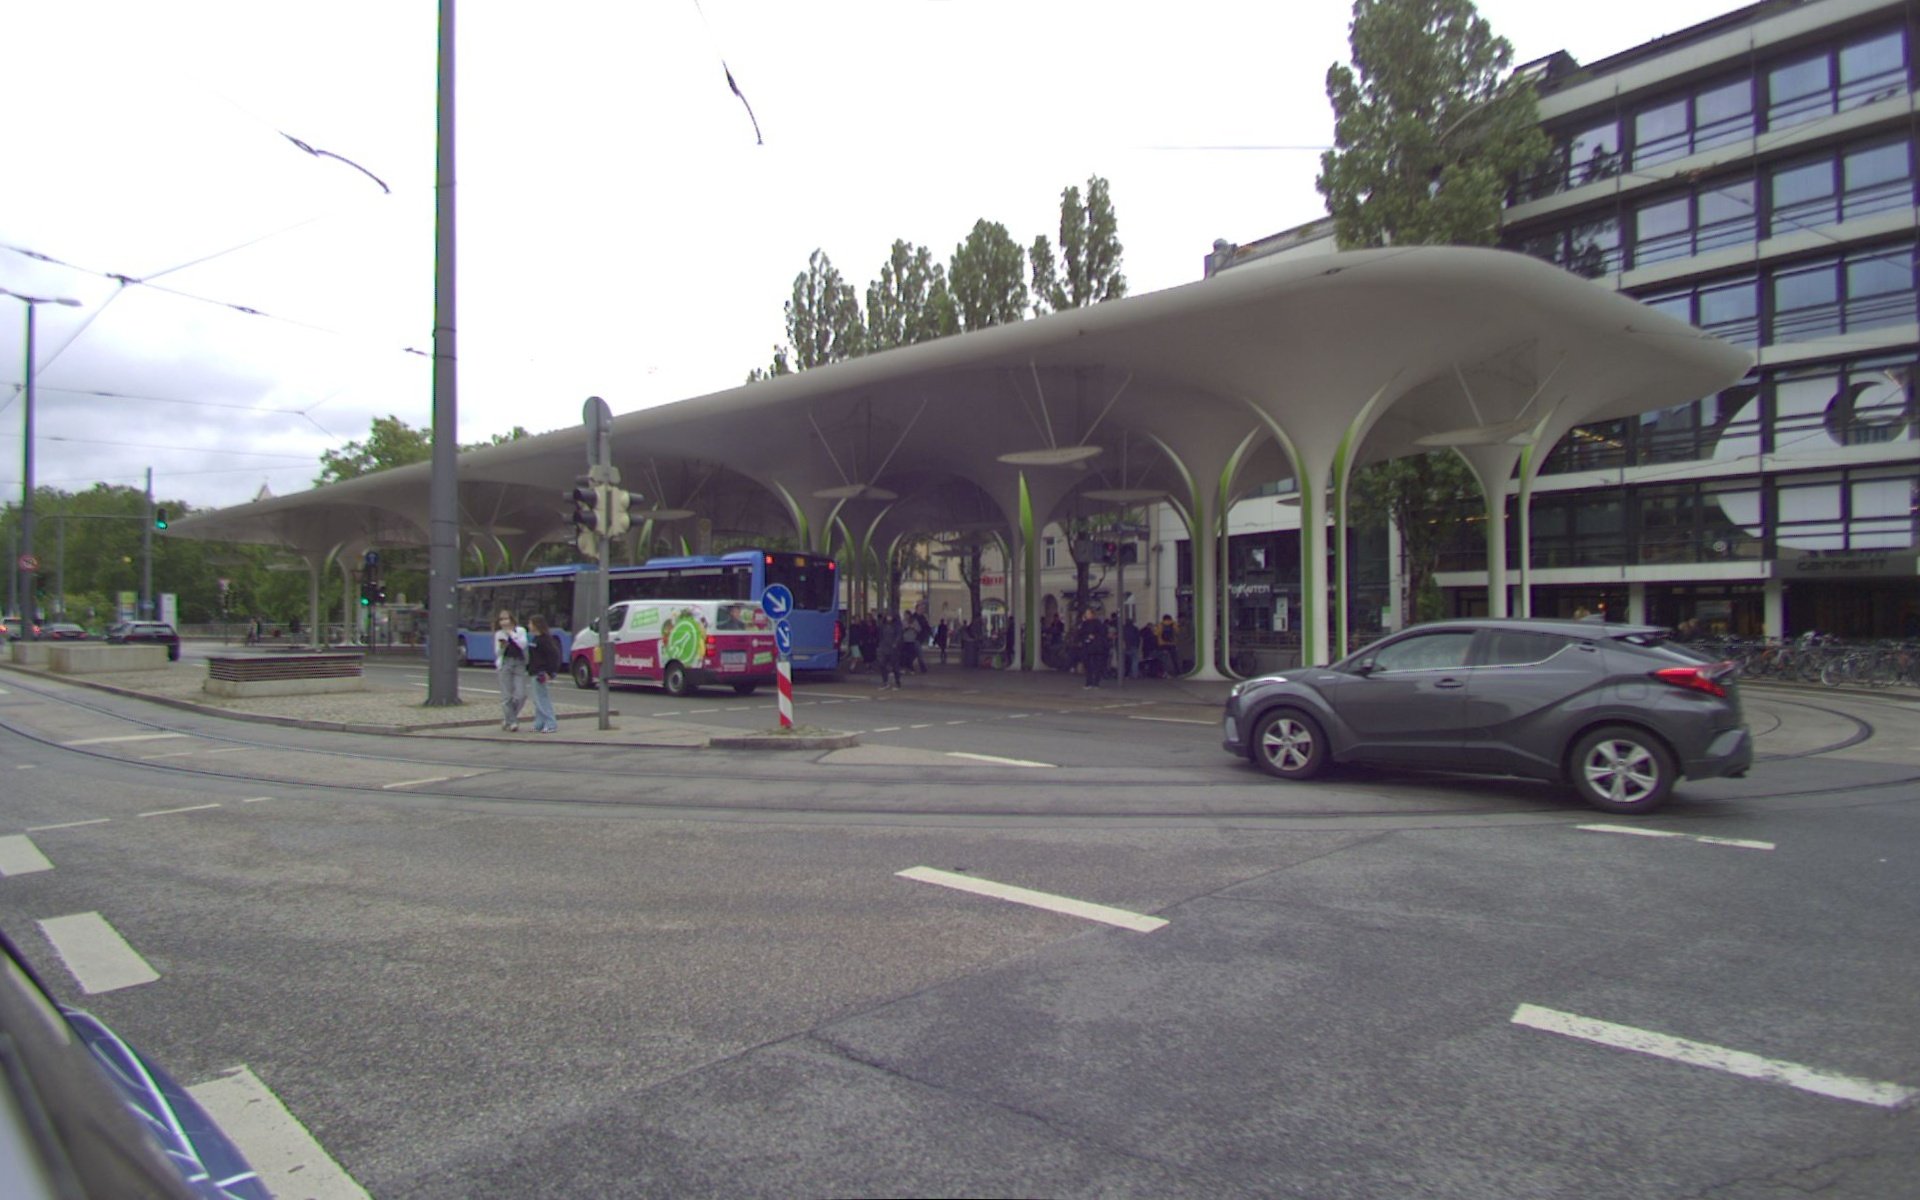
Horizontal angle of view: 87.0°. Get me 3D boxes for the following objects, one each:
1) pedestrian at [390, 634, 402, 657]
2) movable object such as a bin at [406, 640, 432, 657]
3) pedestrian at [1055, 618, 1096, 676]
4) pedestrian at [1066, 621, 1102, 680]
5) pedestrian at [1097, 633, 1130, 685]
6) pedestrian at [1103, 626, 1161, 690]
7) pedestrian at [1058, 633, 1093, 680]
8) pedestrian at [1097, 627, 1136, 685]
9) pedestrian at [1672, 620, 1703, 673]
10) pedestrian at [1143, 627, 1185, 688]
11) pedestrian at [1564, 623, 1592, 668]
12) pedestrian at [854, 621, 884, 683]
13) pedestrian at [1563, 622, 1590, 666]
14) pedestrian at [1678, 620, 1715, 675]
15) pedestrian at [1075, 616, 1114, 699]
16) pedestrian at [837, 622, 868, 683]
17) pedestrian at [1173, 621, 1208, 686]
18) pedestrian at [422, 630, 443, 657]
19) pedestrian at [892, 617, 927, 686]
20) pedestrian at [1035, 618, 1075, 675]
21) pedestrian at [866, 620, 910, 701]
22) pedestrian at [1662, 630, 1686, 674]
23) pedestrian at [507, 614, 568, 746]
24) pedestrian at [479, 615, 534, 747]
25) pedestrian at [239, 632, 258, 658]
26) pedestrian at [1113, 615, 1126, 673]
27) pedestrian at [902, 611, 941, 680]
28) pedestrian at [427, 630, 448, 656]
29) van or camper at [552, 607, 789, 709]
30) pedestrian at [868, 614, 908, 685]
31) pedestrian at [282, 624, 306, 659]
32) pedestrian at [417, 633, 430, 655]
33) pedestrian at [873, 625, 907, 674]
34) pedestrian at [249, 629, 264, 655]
[{"bbox_3d":[-40.423,3.240,72.533,0.728,1.612,0.799,1,-2,-34],"label":"pedestrian"},{"bbox_3d":[-36.902,3.316,69.073,0.957,1.092,1.319,-2,-2,41],"label":"movable object such as a bin"},{"bbox_3d":[3.693,1.486,32.345,0.994,1.841,0.840,1,-2,-45],"label":"pedestrian"},{"bbox_3d":[3.453,1.401,28.253,0.860,1.595,0.551,0,-2,-7],"label":"pedestrian"},{"bbox_3d":[3.810,1.453,25.082,0.612,1.245,0.532,-2,-2,41],"label":"pedestrian"},{"bbox_3d":[4.055,1.350,23.887,1.008,1.464,0.856,1,-2,-32],"label":"pedestrian"},{"bbox_3d":[3.346,1.624,29.468,0.867,1.327,0.839,0,-1,-3],"label":"pedestrian"},{"bbox_3d":[4.101,1.456,26.521,0.860,1.469,0.551,0,-2,-7],"label":"pedestrian"},{"bbox_3d":[25.223,1.590,35.087,0.585,1.814,0.691,1,-2,-39],"label":"pedestrian"},{"bbox_3d":[5.291,1.479,26.252,0.798,1.542,0.724,-2,-2,43],"label":"pedestrian"},{"bbox_3d":[22.712,1.665,37.193,0.585,1.604,0.675,1,-2,-39],"label":"pedestrian"},{"bbox_3d":[-2.361,1.333,26.247,0.533,1.584,0.556,-2,-2,41],"label":"pedestrian"},{"bbox_3d":[23.107,1.650,37.916,0.585,1.604,0.675,1,-2,-39],"label":"pedestrian"},{"bbox_3d":[24.929,1.593,34.265,0.710,1.814,0.829,1,-2,-39],"label":"pedestrian"},{"bbox_3d":[2.849,1.204,21.475,0.540,1.733,0.616,1,-2,-42],"label":"pedestrian"},{"bbox_3d":[-2.705,1.318,25.524,0.471,1.516,0.606,-2,-2,39],"label":"pedestrian"},{"bbox_3d":[5.846,1.343,25.659,0.624,1.623,0.589,-2,-3,45],"label":"pedestrian"},{"bbox_3d":[-31.677,2.616,60.775,0.831,1.622,0.745,-1,-2,13],"label":"pedestrian"},{"bbox_3d":[-1.296,1.296,25.862,0.693,1.724,0.759,0,-2,-20],"label":"pedestrian"},{"bbox_3d":[3.102,1.506,32.996,0.994,1.835,0.840,1,-2,-45],"label":"pedestrian"},{"bbox_3d":[-1.537,1.276,21.756,0.830,1.694,0.972,-1,-2,4],"label":"pedestrian"},{"bbox_3d":[25.321,1.823,35.886,0.597,1.546,0.499,-2,-2,45],"label":"pedestrian"},{"bbox_3d":[-5.335,1.000,12.795,0.551,1.631,0.486,-1,-2,7],"label":"pedestrian"},{"bbox_3d":[-5.739,1.014,12.830,0.514,1.631,0.464,0,-2,-5],"label":"pedestrian"},{"bbox_3d":[-45.090,2.845,64.134,0.737,1.641,0.734,-1,-2,20],"label":"pedestrian"},{"bbox_3d":[5.449,1.497,34.559,0.418,1.947,0.481,-1,-2,12],"label":"pedestrian"},{"bbox_3d":[-1.043,1.222,27.321,0.793,1.831,0.707,1,-2,-34],"label":"pedestrian"},{"bbox_3d":[-36.152,2.990,69.971,0.957,1.776,1.018,-2,-2,41],"label":"pedestrian"},{"bbox_3d":[-6.059,1.156,20.808,5.434,1.840,1.909,-2,-3,39],"label":"van or camper"},{"bbox_3d":[-1.757,1.200,24.796,0.746,1.687,0.624,-1,-2,33],"label":"pedestrian"},{"bbox_3d":[-35.044,2.184,53.234,0.801,1.853,0.664,-1,-2,9],"label":"pedestrian"},{"bbox_3d":[-38.816,3.181,73.249,0.728,1.612,0.799,1,-2,-34],"label":"pedestrian"},{"bbox_3d":[-2.336,1.641,33.904,0.801,1.623,0.791,1,-2,-43],"label":"pedestrian"},{"bbox_3d":[-46.816,2.771,67.348,0.725,1.729,0.862,1,-2,-39],"label":"pedestrian"}]
